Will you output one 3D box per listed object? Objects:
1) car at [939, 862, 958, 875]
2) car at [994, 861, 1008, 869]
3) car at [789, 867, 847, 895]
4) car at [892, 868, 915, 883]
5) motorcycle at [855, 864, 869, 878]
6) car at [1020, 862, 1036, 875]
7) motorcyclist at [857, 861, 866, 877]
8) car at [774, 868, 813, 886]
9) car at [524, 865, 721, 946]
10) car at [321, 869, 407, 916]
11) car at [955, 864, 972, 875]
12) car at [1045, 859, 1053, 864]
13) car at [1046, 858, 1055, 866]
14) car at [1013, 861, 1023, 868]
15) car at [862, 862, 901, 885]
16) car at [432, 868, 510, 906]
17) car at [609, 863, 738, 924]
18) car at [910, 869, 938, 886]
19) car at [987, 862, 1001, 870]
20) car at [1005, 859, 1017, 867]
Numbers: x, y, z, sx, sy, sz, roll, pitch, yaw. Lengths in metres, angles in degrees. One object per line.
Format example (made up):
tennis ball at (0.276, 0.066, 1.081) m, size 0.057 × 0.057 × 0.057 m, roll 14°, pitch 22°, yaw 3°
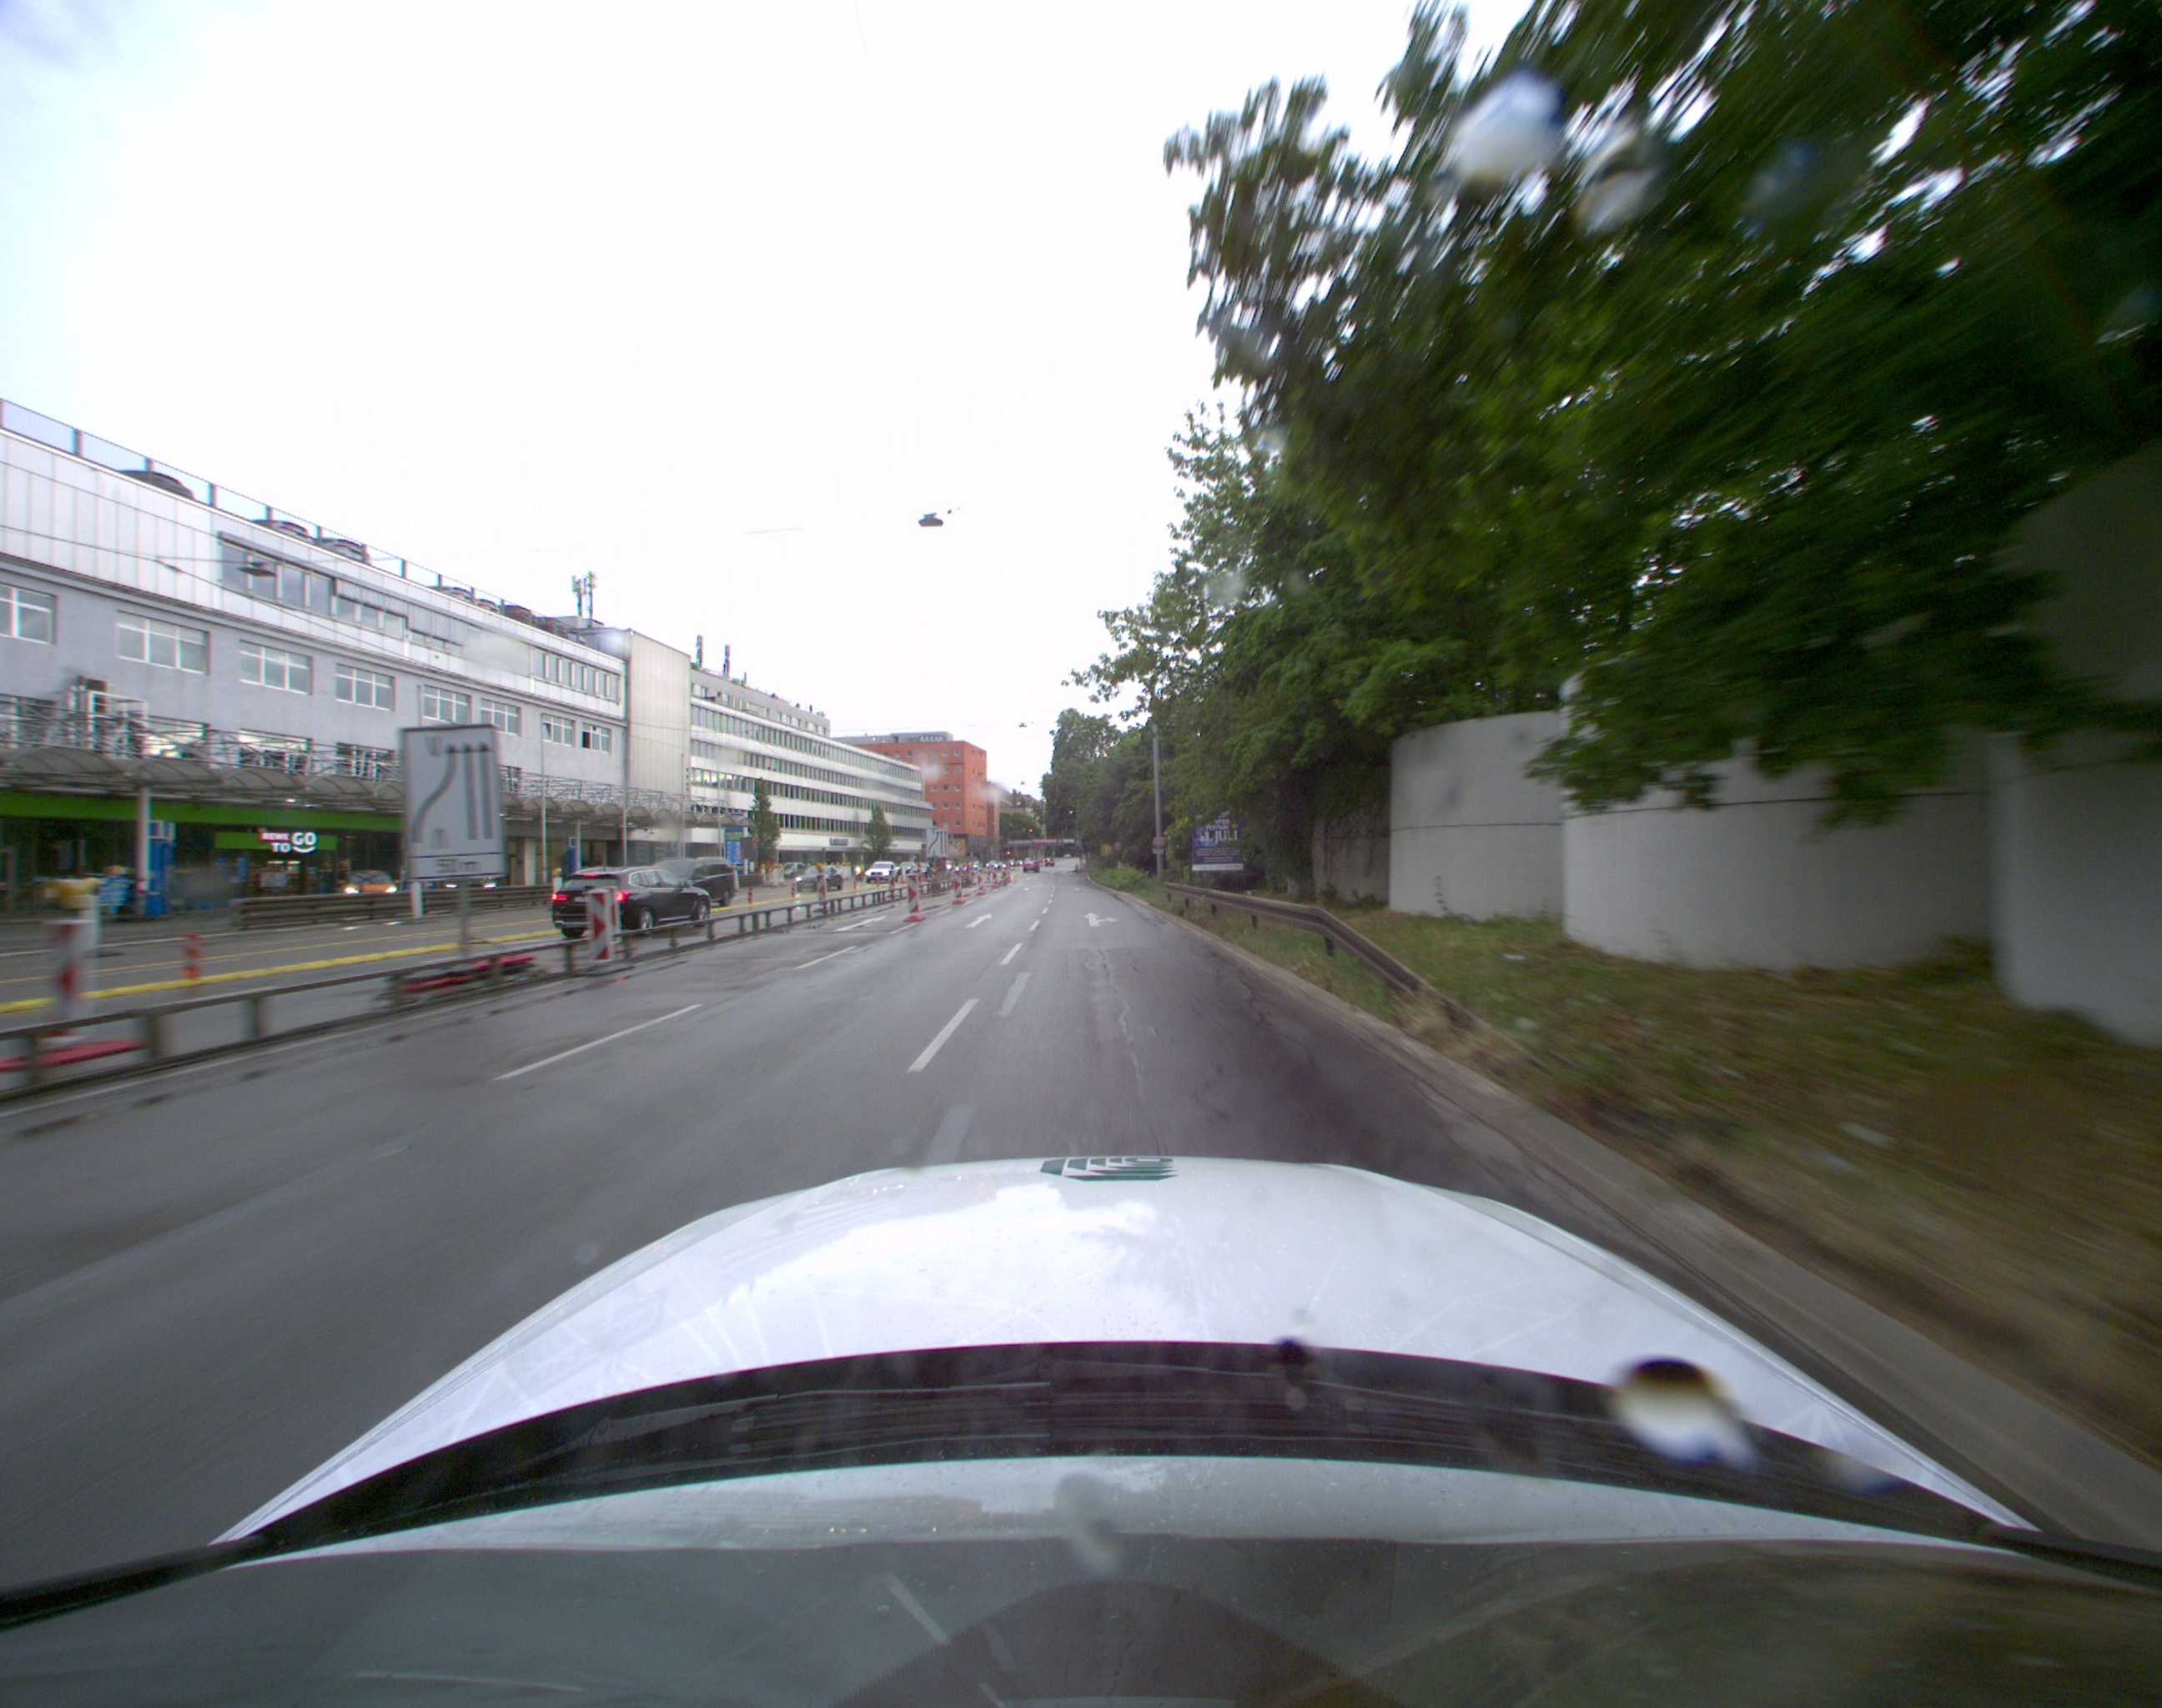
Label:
car at (-18.564, 2.057, 114.248) m, size 1.974 × 1.707 × 4.827 m, roll -1°, pitch -1°, yaw -2°
car at (-14.124, 1.976, 144.817) m, size 1.681 × 1.354 × 4.120 m, roll -2°, pitch -1°, yaw 5°
car at (-15.079, 1.511, 46.921) m, size 1.846 × 1.466 × 4.705 m, roll -2°, pitch -1°, yaw -1°
car at (-19.124, 2.294, 87.949) m, size 1.705 × 1.536 × 4.075 m, roll -2°, pitch 0°, yaw -2°
motorcycle at (-18.534, 1.417, 68.952) m, size 0.577 × 1.102 × 2.027 m, roll -2°, pitch -1°, yaw 0°
car at (-7.713, 2.091, 118.515) m, size 2.115 × 1.734 × 4.196 m, roll 1°, pitch 1°, yaw -2°
motorcyclist at (-18.539, 1.281, 68.816) m, size 0.586 × 1.363 × 0.561 m, roll -2°, pitch 0°, yaw -2°
car at (-31.444, 2.504, 89.239) m, size 1.837 × 1.779 × 4.743 m, roll -2°, pitch -1°, yaw 10°
car at (-11.055, 1.156, 20.123) m, size 1.939 × 1.597 × 4.675 m, roll 1°, pitch 1°, yaw 4°
car at (-30.053, 1.605, 34.084) m, size 4.388 × 1.770 × 1.980 m, roll -3°, pitch -1°, yaw 39°
car at (-15.523, 2.046, 107.291) m, size 1.731 × 1.404 × 4.286 m, roll 0°, pitch -1°, yaw -2°
car at (-9.948, 2.376, 253.671) m, size 1.986 × 1.519 × 4.001 m, roll 0°, pitch -1°, yaw 1°
car at (-6.784, 1.782, 179.731) m, size 1.757 × 1.697 × 3.706 m, roll -2°, pitch -1°, yaw 1°
car at (-14.675, 2.414, 190.957) m, size 1.822 × 1.502 × 4.375 m, roll -2°, pitch -1°, yaw 2°
car at (-15.641, 1.524, 64.136) m, size 1.933 × 1.690 × 4.577 m, roll -2°, pitch 0°, yaw -1°
car at (-29.829, 1.638, 39.799) m, size 4.421 × 1.679 × 2.027 m, roll -3°, pitch -1°, yaw 39°
car at (-14.532, 1.332, 29.437) m, size 1.987 × 1.936 × 5.229 m, roll -2°, pitch -1°, yaw 0°
car at (-15.296, 2.309, 79.342) m, size 1.953 × 1.521 × 4.297 m, roll -1°, pitch 0°, yaw -1°
car at (-16.698, 2.333, 156.230) m, size 1.799 × 1.558 × 4.306 m, roll -1°, pitch -1°, yaw 5°
car at (-15.319, 1.961, 178.696) m, size 1.836 × 1.737 × 4.610 m, roll -1°, pitch -1°, yaw 5°
